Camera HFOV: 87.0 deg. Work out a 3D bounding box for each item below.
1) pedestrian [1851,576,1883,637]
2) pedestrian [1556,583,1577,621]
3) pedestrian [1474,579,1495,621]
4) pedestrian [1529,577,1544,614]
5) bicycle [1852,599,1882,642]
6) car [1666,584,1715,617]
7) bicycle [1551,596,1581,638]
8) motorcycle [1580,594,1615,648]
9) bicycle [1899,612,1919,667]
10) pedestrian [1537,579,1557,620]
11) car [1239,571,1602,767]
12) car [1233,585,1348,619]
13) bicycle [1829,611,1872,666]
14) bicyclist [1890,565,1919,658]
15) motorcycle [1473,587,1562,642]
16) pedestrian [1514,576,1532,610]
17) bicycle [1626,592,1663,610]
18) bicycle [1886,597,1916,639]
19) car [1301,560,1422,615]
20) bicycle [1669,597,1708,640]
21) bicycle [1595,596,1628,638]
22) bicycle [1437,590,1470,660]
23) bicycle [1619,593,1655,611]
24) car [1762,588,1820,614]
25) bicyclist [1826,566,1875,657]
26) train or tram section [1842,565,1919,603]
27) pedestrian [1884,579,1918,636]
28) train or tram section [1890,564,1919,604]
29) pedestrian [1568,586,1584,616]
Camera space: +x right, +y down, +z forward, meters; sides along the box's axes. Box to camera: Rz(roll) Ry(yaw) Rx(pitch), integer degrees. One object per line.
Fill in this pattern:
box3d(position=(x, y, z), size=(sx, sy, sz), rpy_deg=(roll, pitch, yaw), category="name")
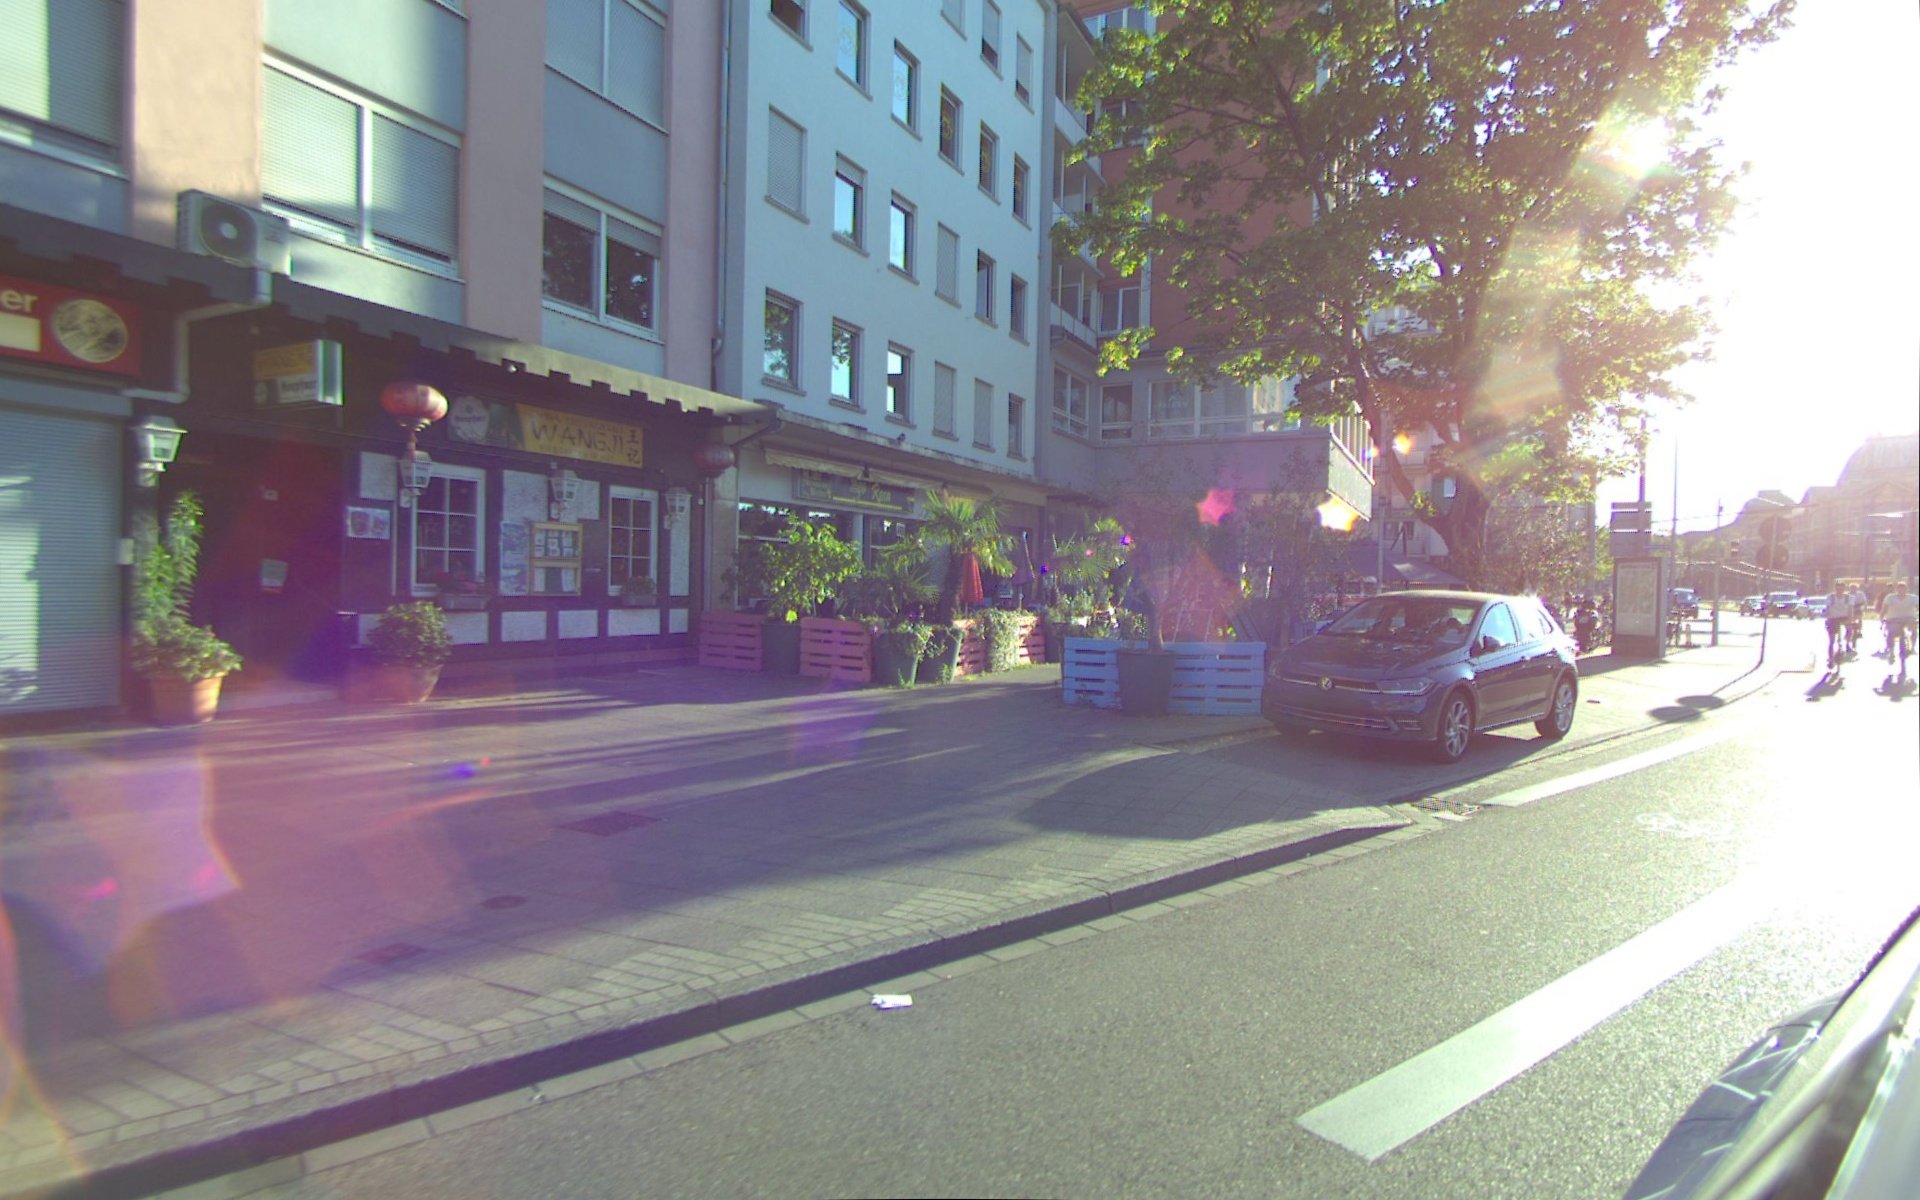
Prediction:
box3d(position=(25.561, 0.172, 28.521), size=(0.637, 1.669, 0.831), rpy_deg=(0, 0, 40), category="pedestrian")
box3d(position=(24.944, 0.081, 41.602), size=(0.678, 1.518, 0.739), rpy_deg=(1, 1, 29), category="pedestrian")
box3d(position=(21.773, -0.001, 42.009), size=(0.723, 1.683, 0.896), rpy_deg=(1, 1, 29), category="pedestrian")
box3d(position=(27.506, -0.216, 48.304), size=(0.565, 1.723, 0.804), rpy_deg=(1, 1, 29), category="pedestrian")
box3d(position=(25.675, 0.562, 28.670), size=(0.528, 1.173, 1.823), rpy_deg=(0, 1, 39), category="bicycle")
box3d(position=(46.831, -0.010, 64.953), size=(1.926, 1.957, 4.783), rpy_deg=(1, 1, 29), category="car")
box3d(position=(17.747, 0.485, 29.655), size=(0.641, 1.172, 2.102), rpy_deg=(1, 0, 29), category="bicycle")
box3d(position=(15.656, 0.479, 24.817), size=(0.663, 1.258, 2.174), rpy_deg=(1, 1, 34), category="motorcycle")
box3d(position=(19.330, 0.779, 20.374), size=(0.477, 1.041, 1.954), rpy_deg=(0, 0, 38), category="bicycle")
box3d(position=(24.602, -0.021, 42.445), size=(0.678, 1.683, 0.739), rpy_deg=(1, 1, 29), category="pedestrian")
box3d(position=(4.649, 0.533, 10.007), size=(3.830, 1.490, 1.732), rpy_deg=(0, 4, -40), category="car")
box3d(position=(14.751, 0.063, 45.253), size=(4.636, 1.357, 1.821), rpy_deg=(1, 1, 30), category="car")
box3d(position=(18.405, 0.773, 20.936), size=(0.574, 1.041, 1.831), rpy_deg=(0, 0, 38), category="bicycle")
box3d(position=(19.293, 0.223, 20.296), size=(0.825, 1.830, 1.043), rpy_deg=(1, 1, 38), category="bicyclist")
box3d(position=(15.246, 0.387, 27.700), size=(2.038, 1.424, 0.751), rpy_deg=(1, 1, 36), category="motorcycle")
box3d(position=(28.913, -0.373, 51.990), size=(0.779, 1.723, 1.017), rpy_deg=(1, 1, 29), category="pedestrian")
box3d(position=(43.229, 0.081, 63.918), size=(1.854, 1.074, 0.602), rpy_deg=(2, 1, 26), category="bicycle")
box3d(position=(27.953, 0.526, 30.077), size=(0.528, 1.173, 1.823), rpy_deg=(0, 1, 39), category="bicycle")
box3d(position=(19.161, -0.624, 48.343), size=(5.218, 2.513, 1.907), rpy_deg=(1, 1, 28), category="car")
box3d(position=(20.209, 0.492, 28.102), size=(0.641, 1.141, 1.855), rpy_deg=(1, 0, 29), category="bicycle")
box3d(position=(18.723, 0.486, 29.111), size=(0.641, 1.141, 1.855), rpy_deg=(1, 0, 29), category="bicycle")
box3d(position=(8.794, 0.429, 18.020), size=(0.418, 1.172, 1.737), rpy_deg=(1, 0, 29), category="bicycle")
box3d(position=(43.814, 0.132, 65.524), size=(1.854, 1.074, 0.602), rpy_deg=(2, 1, 26), category="bicycle")
box3d(position=(58.030, 0.071, 70.748), size=(1.936, 1.734, 4.810), rpy_deg=(-1, 0, 24), category="car")
box3d(position=(18.400, 0.217, 20.924), size=(0.672, 1.830, 0.980), rpy_deg=(1, 1, 38), category="bicyclist")
box3d(position=(92.261, -1.568, 101.180), size=(2.755, 3.580, 13.130), rpy_deg=(1, 1, 26), category="train or tram section")
box3d(position=(27.944, 0.212, 30.057), size=(0.676, 1.669, 0.889), rpy_deg=(0, 0, 39), category="pedestrian")
box3d(position=(86.489, -1.390, 89.430), size=(2.755, 3.580, 13.130), rpy_deg=(1, 1, 26), category="train or tram section")
box3d(position=(33.255, 0.039, 54.649), size=(0.679, 1.609, 0.738), rpy_deg=(1, 1, 32), category="pedestrian")
